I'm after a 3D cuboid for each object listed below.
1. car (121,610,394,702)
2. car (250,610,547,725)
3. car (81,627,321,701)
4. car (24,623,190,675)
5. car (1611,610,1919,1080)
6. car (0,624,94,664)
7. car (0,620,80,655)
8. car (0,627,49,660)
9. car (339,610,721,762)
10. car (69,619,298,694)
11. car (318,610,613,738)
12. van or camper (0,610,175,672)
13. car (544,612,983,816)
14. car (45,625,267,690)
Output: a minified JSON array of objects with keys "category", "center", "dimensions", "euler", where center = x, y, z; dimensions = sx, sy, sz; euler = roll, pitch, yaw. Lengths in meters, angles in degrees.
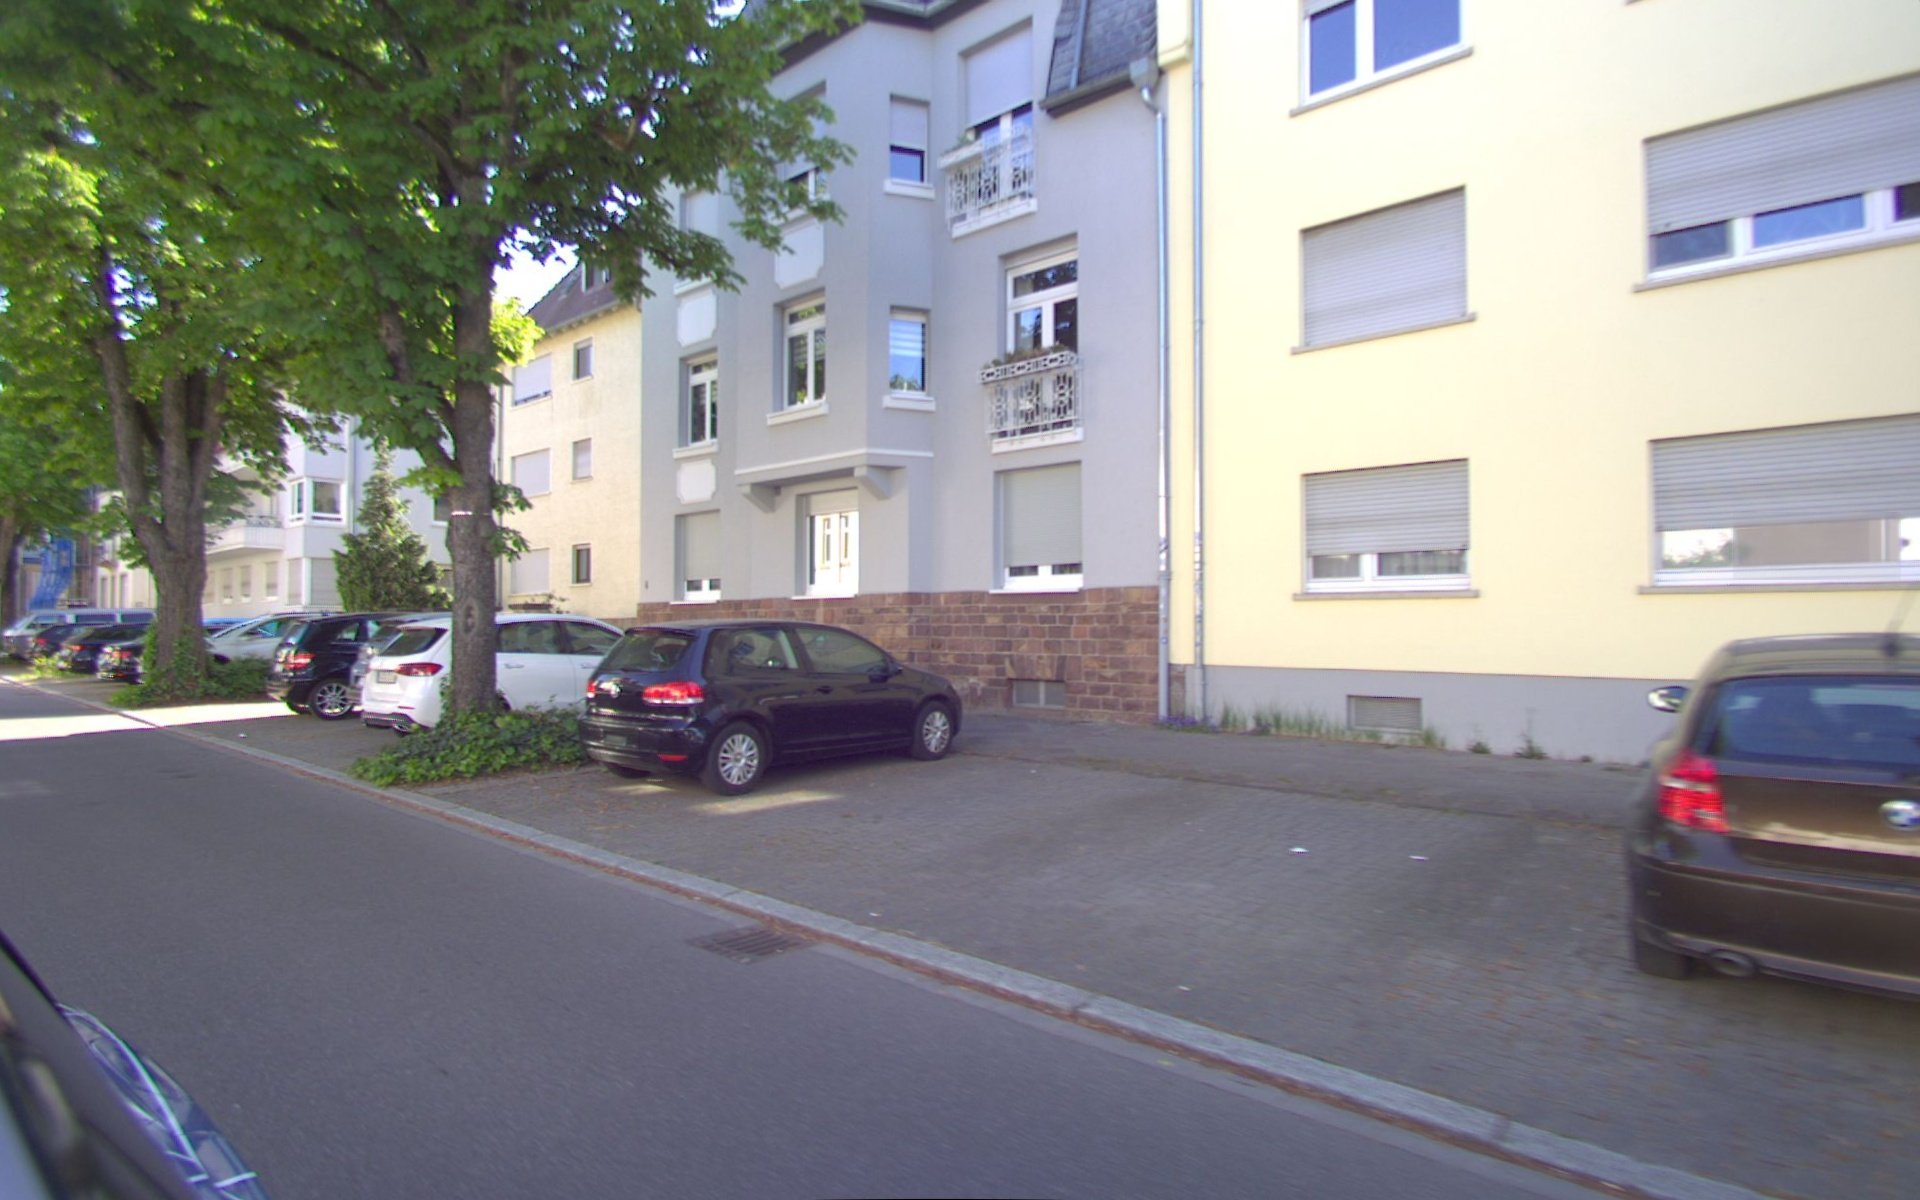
[{"category":"car","center":[-14.356,1.064,20.864],"dimensions":[1.823,1.665,4.339],"euler":[-1,-1,42]},{"category":"car","center":[-8.943,0.986,16.313],"dimensions":[1.848,1.587,3.820],"euler":[-2,-1,44]},{"category":"car","center":[-16.574,1.338,22.257],"dimensions":[1.696,1.479,3.946],"euler":[-1,-2,40]},{"category":"car","center":[-27.227,1.515,32.370],"dimensions":[1.662,1.510,3.902],"euler":[-1,-1,43]},{"category":"car","center":[4.347,0.784,4.643],"dimensions":[1.769,1.432,3.947],"euler":[-3,-2,40]},{"category":"car","center":[-37.249,1.757,40.641],"dimensions":[1.710,1.474,3.604],"euler":[-1,0,43]},{"category":"car","center":[-44.358,1.750,47.379],"dimensions":[1.831,1.619,4.545],"euler":[-1,-1,38]},{"category":"car","center":[-47.646,2.158,49.774],"dimensions":[1.827,1.525,3.841],"euler":[-1,1,32]},{"category":"car","center":[-5.176,0.920,12.594],"dimensions":[1.805,1.496,3.982],"euler":[-2,0,40]},{"category":"car","center":[-18.142,1.270,23.786],"dimensions":[1.876,1.604,3.947],"euler":[-1,-2,39]},{"category":"car","center":[-7.111,0.976,14.820],"dimensions":[1.767,1.587,3.484],"euler":[-2,-1,36]},{"category":"van or camper","center":[-29.455,1.347,34.078],"dimensions":[1.963,1.929,4.450],"euler":[-1,-2,41]},{"category":"car","center":[-1.695,0.894,9.840],"dimensions":[1.798,1.455,3.984],"euler":[0,1,39]},{"category":"car","center":[-20.456,1.413,25.878],"dimensions":[1.860,1.510,4.144],"euler":[-1,-2,40]}]
